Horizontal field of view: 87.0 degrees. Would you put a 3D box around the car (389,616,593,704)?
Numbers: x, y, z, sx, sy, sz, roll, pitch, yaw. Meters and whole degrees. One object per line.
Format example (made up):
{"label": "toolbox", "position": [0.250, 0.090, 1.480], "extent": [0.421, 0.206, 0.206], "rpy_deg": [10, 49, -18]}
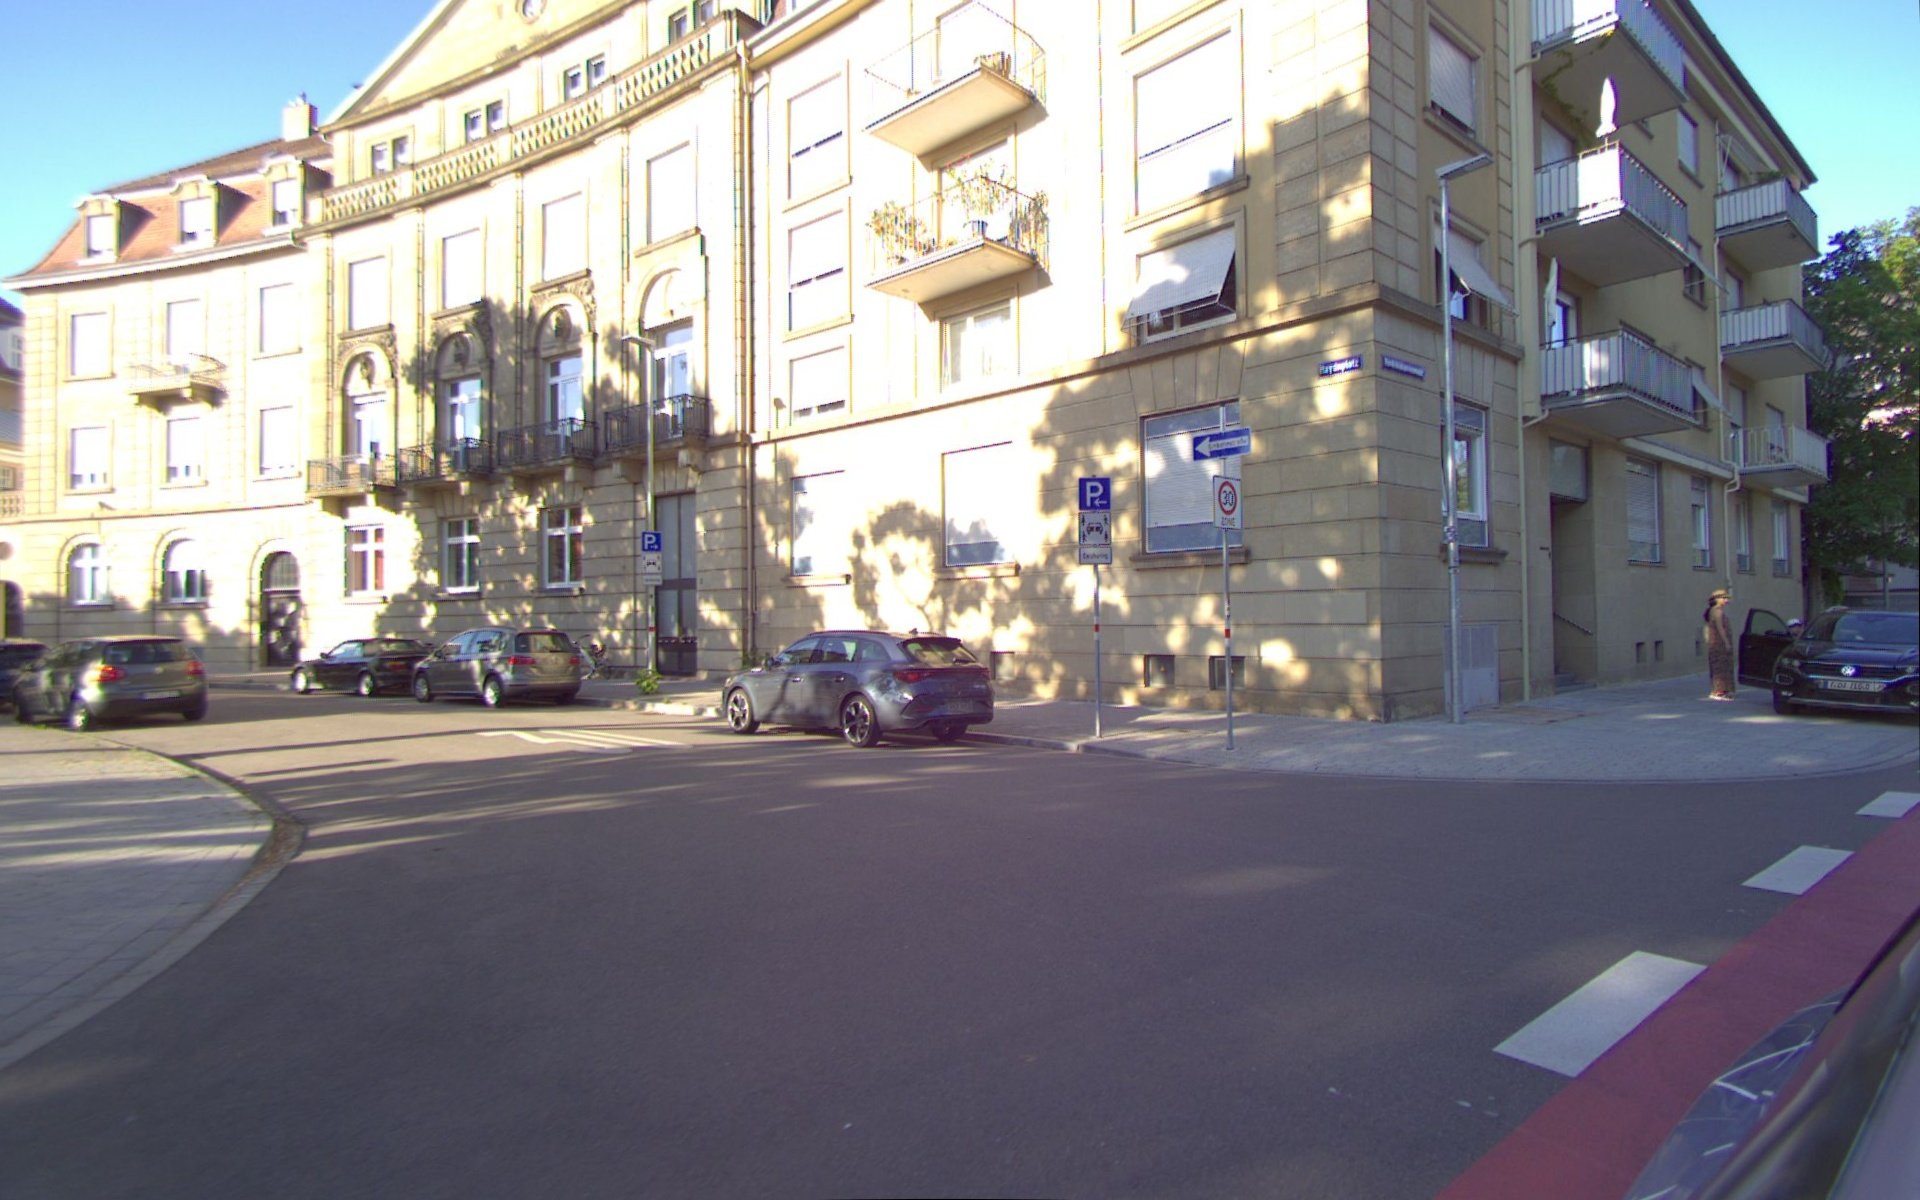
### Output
{"label": "car", "position": [-9.804, 1.187, 21.057], "extent": [4.419, 1.620, 1.782], "rpy_deg": [-1, 0, 33]}

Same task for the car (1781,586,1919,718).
{"label": "car", "position": [13.387, 0.671, 14.544], "extent": [4.271, 1.646, 1.706], "rpy_deg": [1, 0, -40]}

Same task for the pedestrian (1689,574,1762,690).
{"label": "pedestrian", "position": [12.558, 0.526, 16.619], "extent": [0.721, 1.854, 0.554], "rpy_deg": [-2, -2, 14]}

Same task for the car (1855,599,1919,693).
{"label": "car", "position": [17.135, 0.742, 17.502], "extent": [4.269, 1.438, 1.708], "rpy_deg": [-1, 2, -38]}

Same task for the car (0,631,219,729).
{"label": "car", "position": [-14.888, 1.295, 17.483], "extent": [4.330, 1.435, 1.826], "rpy_deg": [-1, 0, 31]}

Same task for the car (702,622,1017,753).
{"label": "car", "position": [-1.514, 1.047, 13.800], "extent": [1.904, 1.437, 4.440], "rpy_deg": [-1, 0, -45]}

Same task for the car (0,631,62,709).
{"label": "car", "position": [-20.132, 1.393, 20.421], "extent": [4.395, 1.435, 1.552], "rpy_deg": [-1, 0, 27]}

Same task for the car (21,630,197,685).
{"label": "car", "position": [-24.445, 1.637, 29.081], "extent": [4.589, 1.435, 1.808], "rpy_deg": [-1, 0, 19]}

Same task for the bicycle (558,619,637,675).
{"label": "bicycle", "position": [-9.046, 1.153, 25.184], "extent": [2.240, 1.327, 0.607], "rpy_deg": [-1, -1, 33]}

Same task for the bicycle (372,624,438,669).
{"label": "bicycle", "position": [-16.288, 1.360, 29.700], "extent": [2.102, 1.246, 0.609], "rpy_deg": [-1, -1, 26]}

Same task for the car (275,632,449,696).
{"label": "car", "position": [-14.166, 1.467, 23.918], "extent": [4.412, 1.341, 1.490], "rpy_deg": [-1, 0, 29]}
